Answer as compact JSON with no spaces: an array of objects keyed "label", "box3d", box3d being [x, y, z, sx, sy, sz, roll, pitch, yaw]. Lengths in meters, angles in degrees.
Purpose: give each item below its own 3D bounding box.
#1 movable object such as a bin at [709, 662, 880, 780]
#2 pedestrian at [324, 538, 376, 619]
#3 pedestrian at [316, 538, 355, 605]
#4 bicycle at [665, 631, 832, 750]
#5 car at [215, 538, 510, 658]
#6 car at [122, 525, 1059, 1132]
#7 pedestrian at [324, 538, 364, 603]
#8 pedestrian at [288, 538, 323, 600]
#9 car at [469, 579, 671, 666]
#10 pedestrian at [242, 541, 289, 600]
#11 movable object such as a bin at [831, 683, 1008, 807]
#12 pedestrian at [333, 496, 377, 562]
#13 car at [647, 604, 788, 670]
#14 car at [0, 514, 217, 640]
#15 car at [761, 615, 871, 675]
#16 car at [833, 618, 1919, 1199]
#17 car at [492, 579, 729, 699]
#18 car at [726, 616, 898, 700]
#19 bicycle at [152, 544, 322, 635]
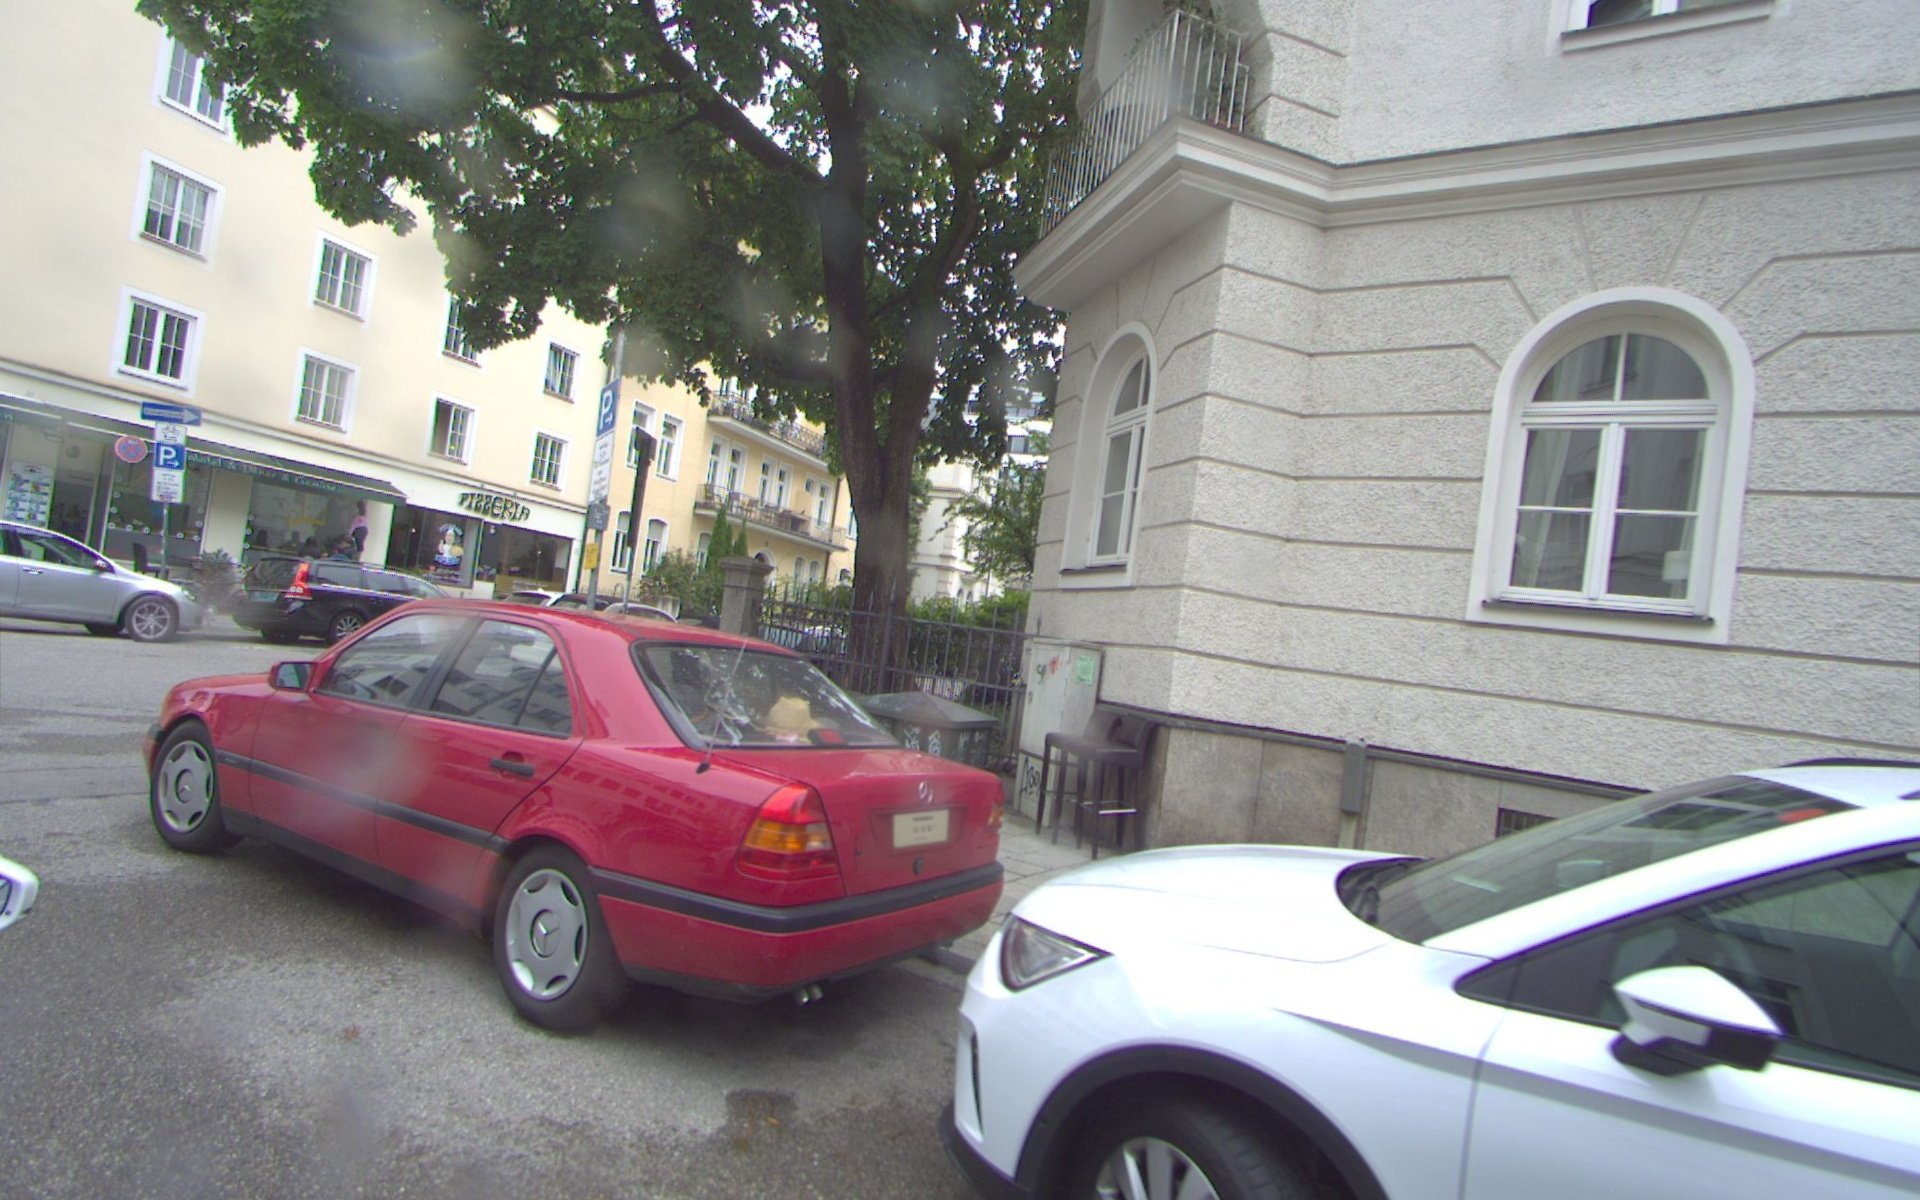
[{"label":"movable object such as a bin","box3d":[-1.544,1.117,9.471,1.198,0.875,0.902,7,-2,29]},{"label":"pedestrian","box3d":[-13.940,-0.481,23.003,0.533,1.722,0.604,9,0,23]},{"label":"pedestrian","box3d":[-15.545,-0.709,25.053,0.550,1.555,0.432,9,0,-20]},{"label":"bicycle","box3d":[-2.254,0.938,10.638,1.774,1.051,0.482,4,-3,30]},{"label":"car","box3d":[-10.701,0.066,18.440,1.787,1.609,4.355,6,-3,21]},{"label":"car","box3d":[-1.851,0.660,4.630,4.143,1.451,1.674,7,-3,31]},{"label":"pedestrian","box3d":[-15.702,-0.751,25.641,0.525,1.569,0.435,7,-1,4]},{"label":"pedestrian","box3d":[-16.161,-0.768,24.846,0.507,1.450,0.579,8,-1,-27]},{"label":"car","box3d":[-8.795,0.592,23.153,1.787,1.519,4.355,5,-4,21]},{"label":"pedestrian","box3d":[-16.660,-0.692,24.140,0.572,1.312,0.513,8,-1,0]},{"label":"movable object such as a bin","box3d":[-0.352,1.264,8.975,1.198,0.853,0.902,7,-2,29]},{"label":"pedestrian","box3d":[-15.852,-1.861,26.375,0.567,1.592,0.555,7,-3,21]},{"label":"car","box3d":[-6.608,1.081,27.854,1.778,1.465,4.004,4,-4,21]},{"label":"car","box3d":[-12.973,-0.372,13.821,1.792,1.430,3.996,2,-5,32]},{"label":"car","box3d":[-4.722,1.540,33.524,1.721,1.656,4.003,4,-4,23]},{"label":"car","box3d":[1.866,1.087,2.193,3.841,1.513,1.756,7,-2,28]},{"label":"car","box3d":[-5.449,0.697,16.105,1.598,1.504,3.333,8,-2,24]},{"label":"car","box3d":[-3.009,1.286,21.478,1.675,1.422,4.203,7,-2,21]},{"label":"bicycle","box3d":[-12.925,-0.148,18.083,1.086,1.267,2.091,8,-3,22]}]
